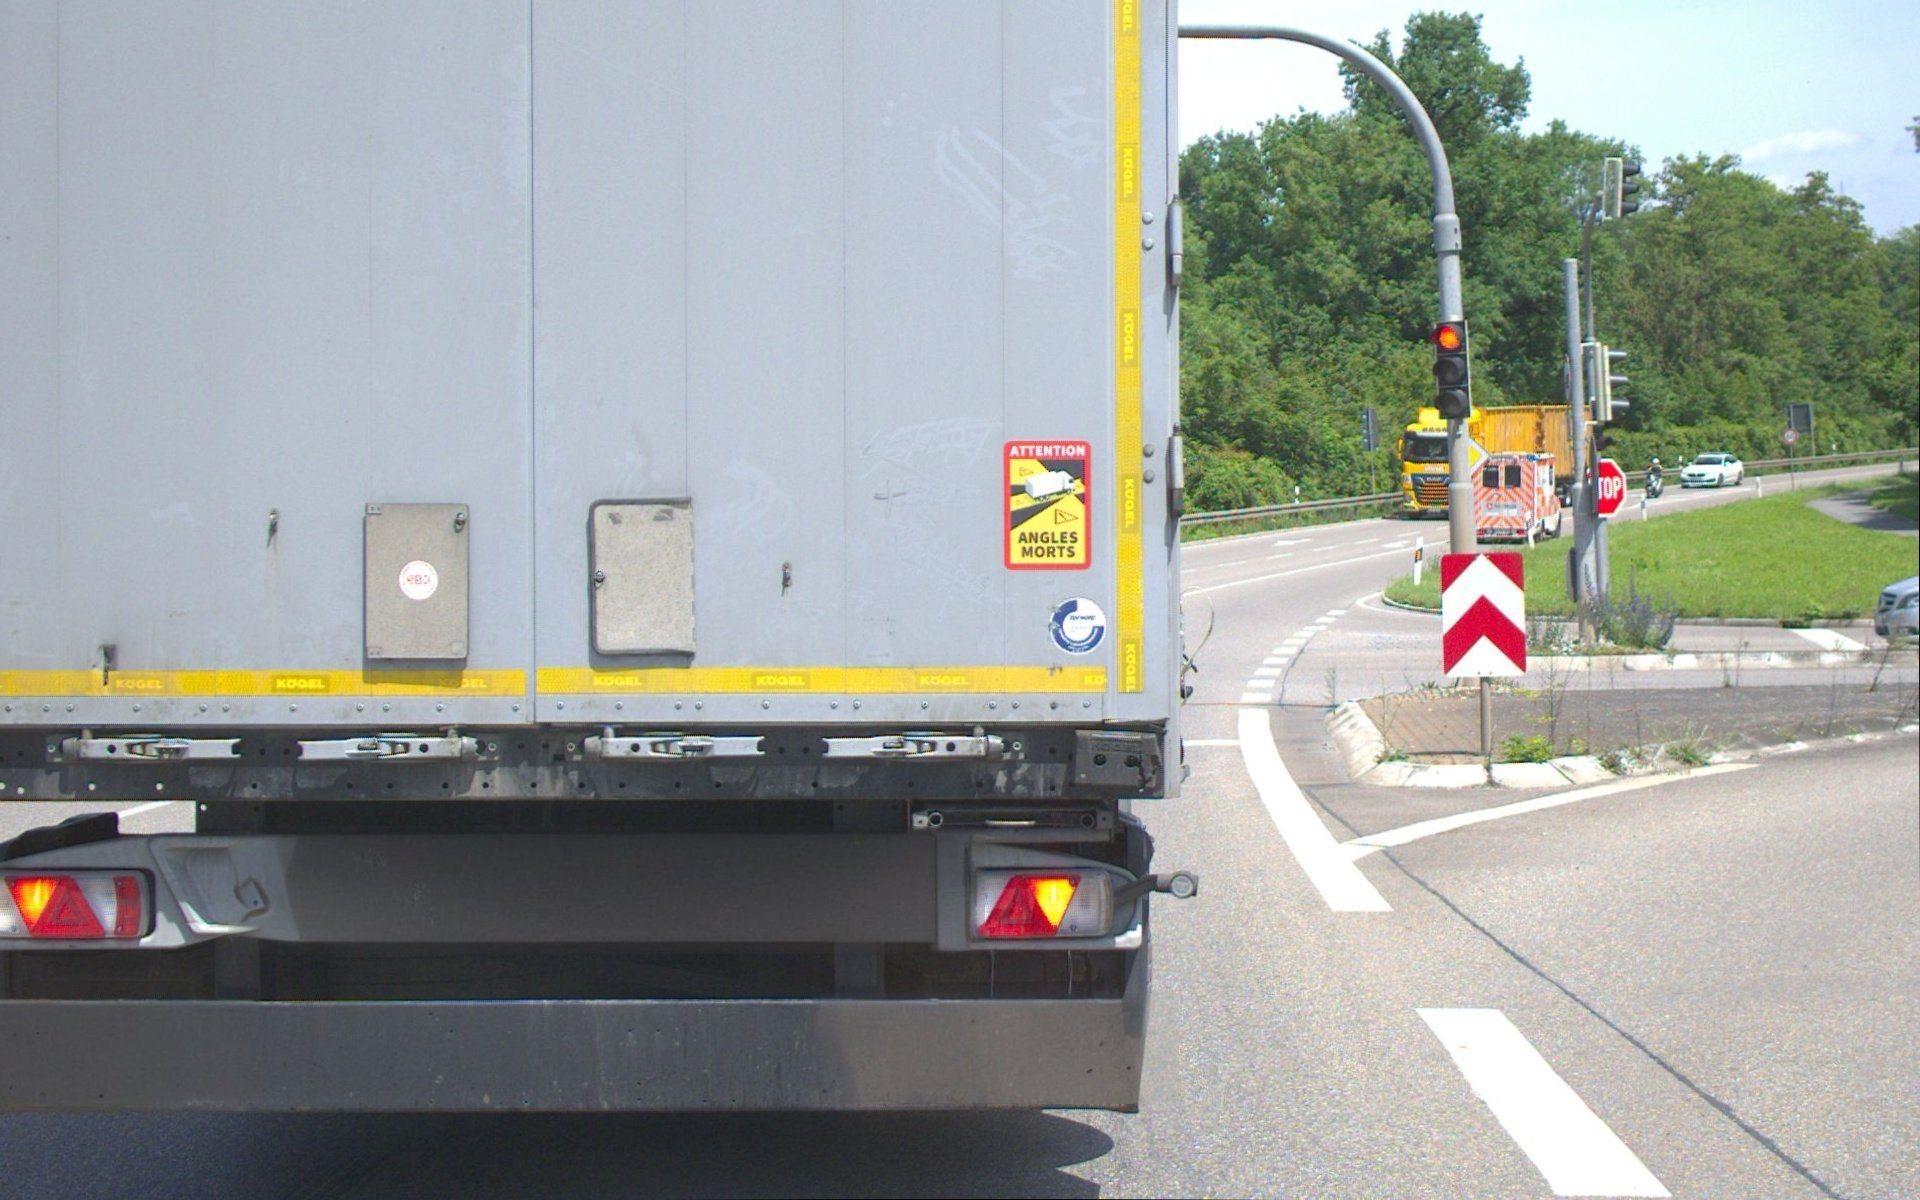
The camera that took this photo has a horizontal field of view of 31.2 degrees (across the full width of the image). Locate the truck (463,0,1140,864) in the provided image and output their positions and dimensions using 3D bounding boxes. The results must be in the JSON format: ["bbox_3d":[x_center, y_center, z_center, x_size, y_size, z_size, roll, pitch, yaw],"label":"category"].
[{"bbox_3d":[-0.643,-0.878,18.889,3.038,4.020,6.629,0,1,1],"label":"truck"}]

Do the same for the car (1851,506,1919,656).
[{"bbox_3d":[12.838,-0.191,40.133,4.428,1.712,2.000,0,-1,5],"label":"car"}]

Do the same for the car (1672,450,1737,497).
[{"bbox_3d":[34.020,-5.784,157.076,1.996,2.006,3.995,0,4,25],"label":"car"}]

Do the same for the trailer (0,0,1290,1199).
[{"bbox_3d":[-0.786,-0.778,12.634,3.052,4.020,12.559,0,1,1],"label":"trailer"}]

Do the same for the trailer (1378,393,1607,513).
[{"bbox_3d":[21.431,-5.793,136.465,5.016,4.347,20.818,0,2,20],"label":"trailer"}]

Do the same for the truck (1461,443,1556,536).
[{"bbox_3d":[16.751,-3.325,104.771,2.495,2.718,6.027,0,1,12],"label":"truck"}]

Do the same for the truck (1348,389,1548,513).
[{"bbox_3d":[18.291,-5.492,127.801,5.016,4.347,11.754,0,2,20],"label":"truck"}]
